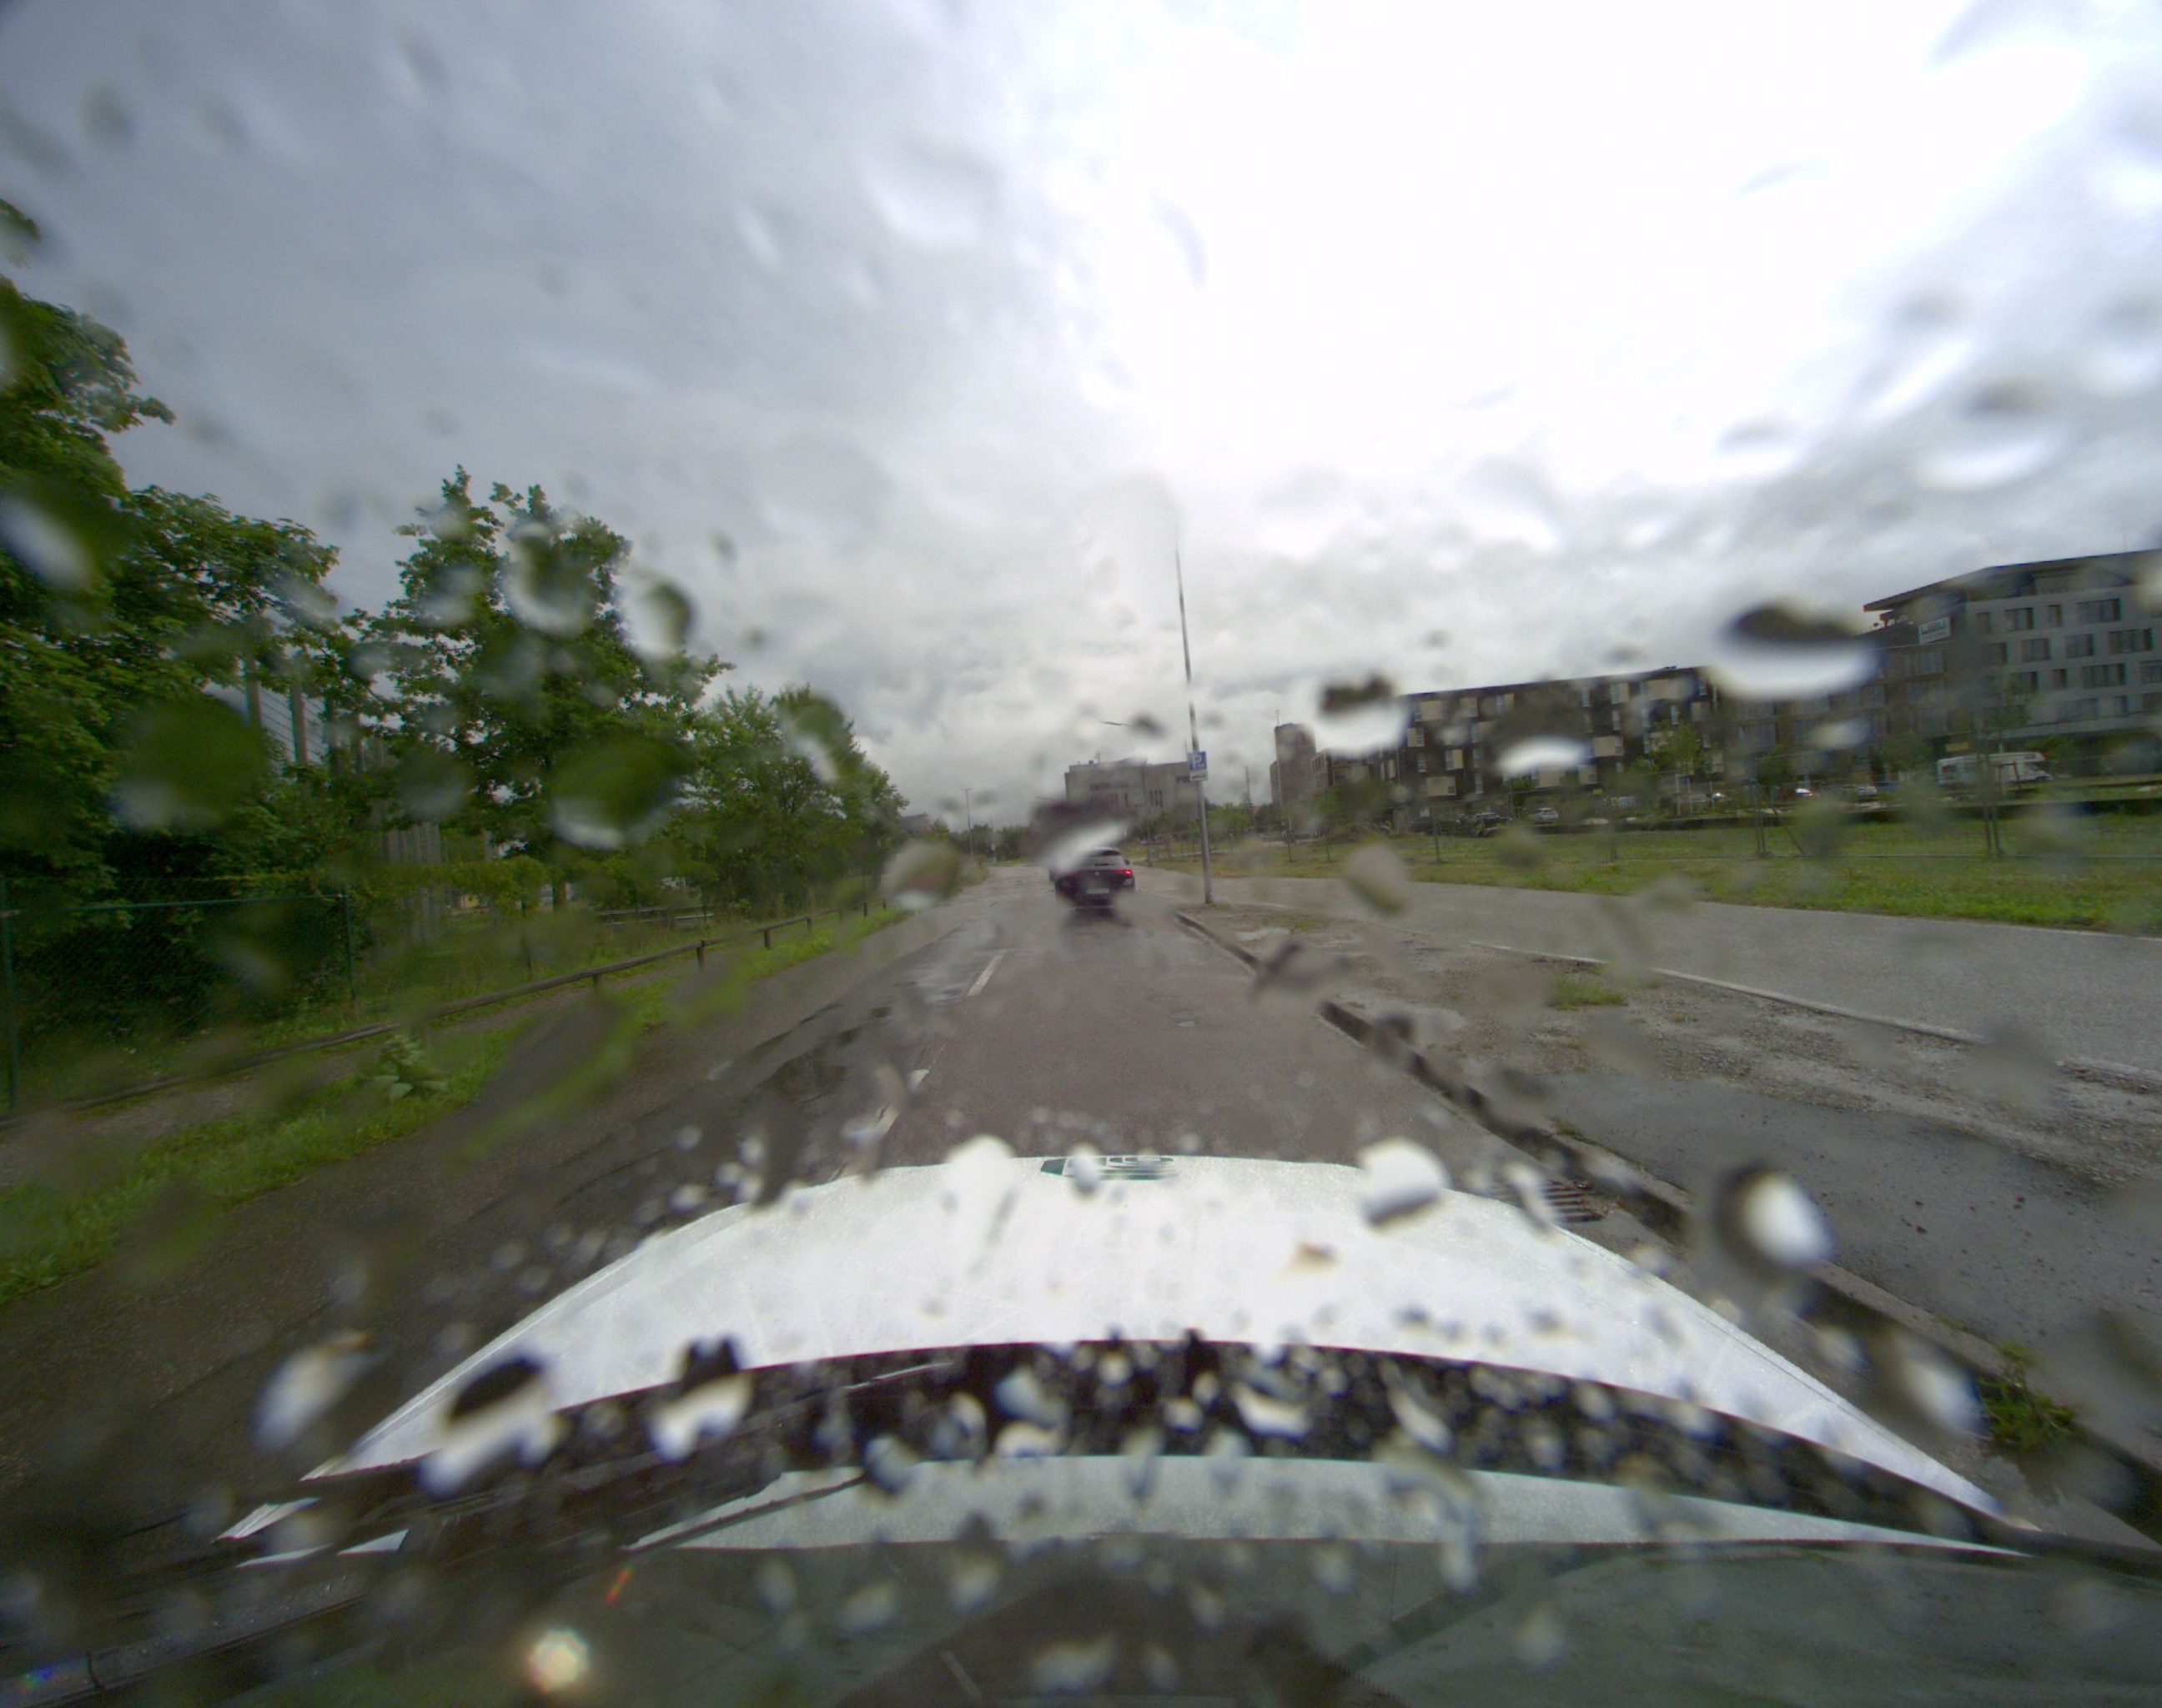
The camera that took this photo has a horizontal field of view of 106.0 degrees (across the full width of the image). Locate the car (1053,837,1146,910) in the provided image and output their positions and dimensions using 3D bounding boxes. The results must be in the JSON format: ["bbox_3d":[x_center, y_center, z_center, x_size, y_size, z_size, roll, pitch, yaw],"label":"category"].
[{"bbox_3d":[0.340,0.398,19.595,1.982,1.520,3.997,-2,1,-2],"label":"car"}]

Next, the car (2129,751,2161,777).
[{"bbox_3d":[91.268,-7.596,67.848,4.766,2.013,2.006,-2,1,10],"label":"car"}]

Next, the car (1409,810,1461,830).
[{"bbox_3d":[33.044,-3.179,76.146,3.971,1.727,2.002,-2,1,2],"label":"car"}]

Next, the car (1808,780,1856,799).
[{"bbox_3d":[75.494,-6.429,81.947,1.536,1.615,3.849,-2,1,6],"label":"car"}]

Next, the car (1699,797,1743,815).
[{"bbox_3d":[65.372,-4.893,83.255,1.771,1.615,3.849,-2,1,6],"label":"car"}]

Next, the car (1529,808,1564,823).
[{"bbox_3d":[48.649,-3.961,85.199,1.754,1.395,3.814,-2,1,6],"label":"car"}]

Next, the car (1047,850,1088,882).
[{"bbox_3d":[-0.796,0.629,44.417,1.838,1.441,3.994,-7,1,-4],"label":"car"}]

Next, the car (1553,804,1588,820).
[{"bbox_3d":[51.082,-4.359,85.031,1.629,1.396,3.788,-3,0,6],"label":"car"}]

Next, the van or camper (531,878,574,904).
[{"bbox_3d":[-69.480,4.864,107.225,4.533,2.945,2.458,-5,0,-33],"label":"van or camper"}]

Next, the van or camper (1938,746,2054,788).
[{"bbox_3d":[79.881,-7.583,71.181,6.742,3.201,2.535,-2,1,6],"label":"van or camper"}]

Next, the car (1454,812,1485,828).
[{"bbox_3d":[41.036,-3.560,86.078,1.771,1.527,3.849,-2,1,6],"label":"car"}]

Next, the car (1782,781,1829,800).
[{"bbox_3d":[73.035,-6.359,82.131,1.536,1.615,3.849,-2,1,6],"label":"car"}]

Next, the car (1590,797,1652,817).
[{"bbox_3d":[49.465,-4.330,74.708,4.300,1.772,2.004,0,1,7],"label":"car"}]

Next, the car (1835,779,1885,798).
[{"bbox_3d":[78.174,-6.506,81.778,1.536,1.615,3.849,-2,1,6],"label":"car"}]
